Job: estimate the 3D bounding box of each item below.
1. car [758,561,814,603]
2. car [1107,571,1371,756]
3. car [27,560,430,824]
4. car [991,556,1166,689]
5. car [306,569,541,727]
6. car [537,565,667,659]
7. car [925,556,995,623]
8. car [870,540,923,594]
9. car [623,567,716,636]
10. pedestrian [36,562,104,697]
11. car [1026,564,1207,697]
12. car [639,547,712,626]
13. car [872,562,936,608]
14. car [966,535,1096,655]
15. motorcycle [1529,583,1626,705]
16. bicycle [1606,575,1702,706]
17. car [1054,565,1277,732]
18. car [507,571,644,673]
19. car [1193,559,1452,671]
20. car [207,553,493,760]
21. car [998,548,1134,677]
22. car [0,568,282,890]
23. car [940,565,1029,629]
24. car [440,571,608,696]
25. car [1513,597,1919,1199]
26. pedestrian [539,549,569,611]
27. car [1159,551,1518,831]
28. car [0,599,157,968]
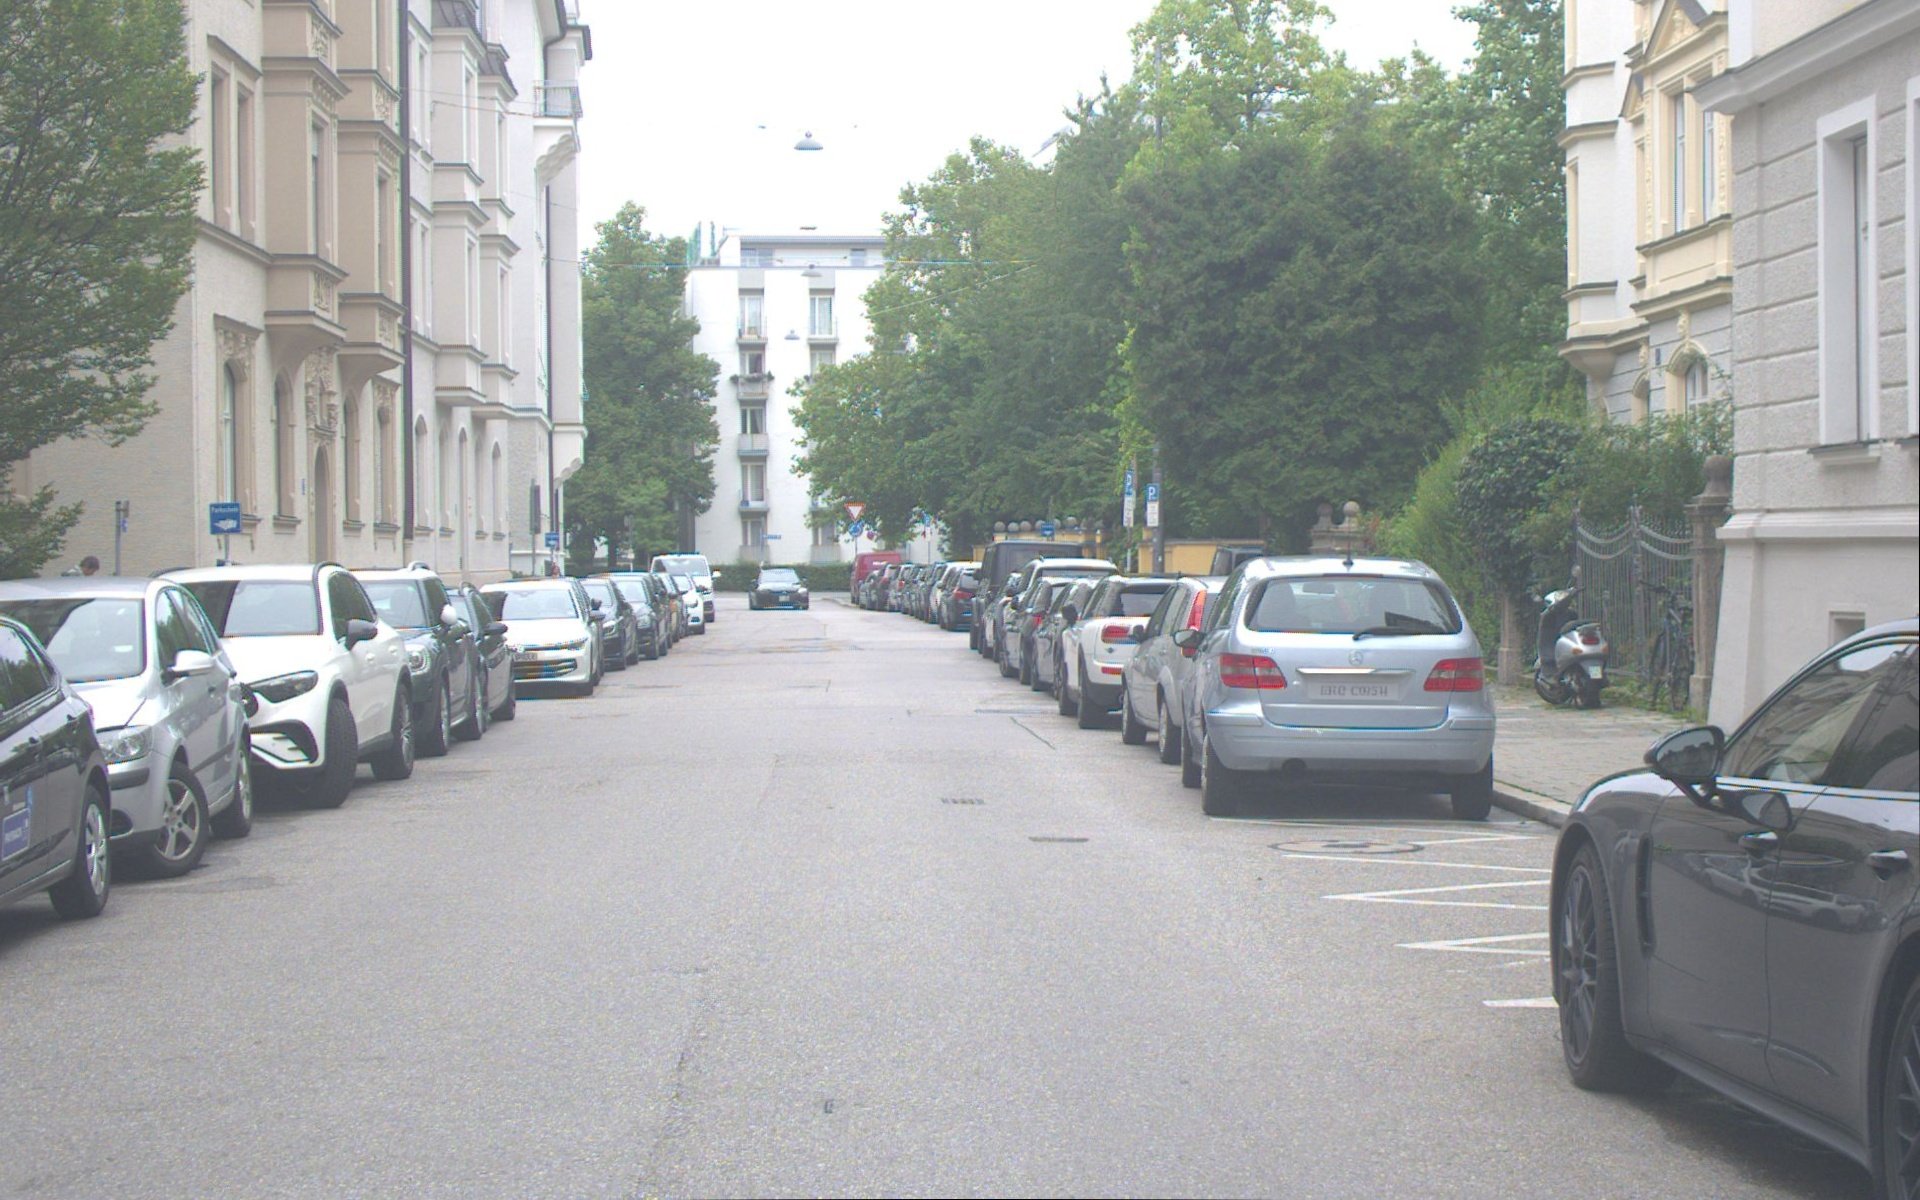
[{"bbox_3d":[-6.206,-0.663,122.198,1.874,1.423,4.410,-1,1,-4],"label":"car"},{"bbox_3d":[2.206,0.471,27.990,1.754,1.401,3.452,0,1,-2],"label":"car"},{"bbox_3d":[-4.976,0.556,24.031,1.915,1.613,4.572,-1,1,-1],"label":"car"},{"bbox_3d":[1.517,0.260,45.583,1.750,1.605,4.425,1,1,-5],"label":"car"},{"bbox_3d":[-5.219,0.423,33.939,1.787,1.408,4.368,-1,1,-2],"label":"car"},{"bbox_3d":[-6.182,0.173,59.734,1.836,1.431,4.245,-3,1,-1],"label":"car"},{"bbox_3d":[-0.011,-0.273,88.250,1.513,1.656,3.674,1,0,-4],"label":"car"},{"bbox_3d":[-2.366,-1.237,128.838,1.836,1.920,4.005,2,1,0],"label":"car"},{"bbox_3d":[-6.770,0.005,80.506,1.836,1.433,4.275,-3,1,-1],"label":"car"},{"bbox_3d":[-10.770,0.350,41.635,0.673,1.620,0.631,-1,1,-4],"label":"pedestrian"},{"bbox_3d":[1.818,0.324,41.007,1.683,1.499,4.018,0,1,-4],"label":"car"},{"bbox_3d":[-8.166,-0.422,98.973,1.886,2.120,4.707,-3,1,-4],"label":"car"},{"bbox_3d":[-1.924,-0.509,116.917,1.838,1.513,3.948,1,0,-5],"label":"car"},{"bbox_3d":[1.197,-0.125,60.207,1.950,1.947,4.666,1,2,-2],"label":"car"},{"bbox_3d":[5.890,0.404,32.871,0.607,1.108,1.964,-1,1,1],"label":"motorcycle"},{"bbox_3d":[6.203,0.343,30.786,0.434,1.122,1.882,-1,1,-1],"label":"bicycle"},{"bbox_3d":[1.922,0.424,33.264,1.784,1.499,4.065,0,1,-2],"label":"car"},{"bbox_3d":[-6.027,0.317,54.276,1.833,1.429,4.554,-2,1,-3],"label":"car"},{"bbox_3d":[6.855,0.267,65.175,4.528,1.943,1.904,-1,2,-8],"label":"car"},{"bbox_3d":[-5.150,0.423,29.527,1.836,1.613,4.245,-1,1,-2],"label":"car"},{"bbox_3d":[1.521,0.167,50.739,1.723,1.763,4.413,2,0,-1],"label":"car"},{"bbox_3d":[-4.915,0.634,18.988,1.782,1.536,4.258,-3,1,-5],"label":"car"},{"bbox_3d":[0.528,-0.073,78.278,1.838,1.408,4.343,1,0,-2],"label":"car"},{"bbox_3d":[-5.634,0.399,44.804,1.836,1.429,4.245,-2,1,-3],"label":"car"},{"bbox_3d":[2.851,0.750,8.230,1.993,1.452,4.713,-1,1,-4],"label":"car"},{"bbox_3d":[-11.099,-0.542,93.976,0.792,1.673,0.700,-1,1,-6],"label":"pedestrian"},{"bbox_3d":[2.360,0.505,22.462,1.822,1.564,4.400,2,1,0],"label":"car"},{"bbox_3d":[-4.706,0.769,14.297,1.792,1.410,4.279,-3,1,-2],"label":"car"}]
